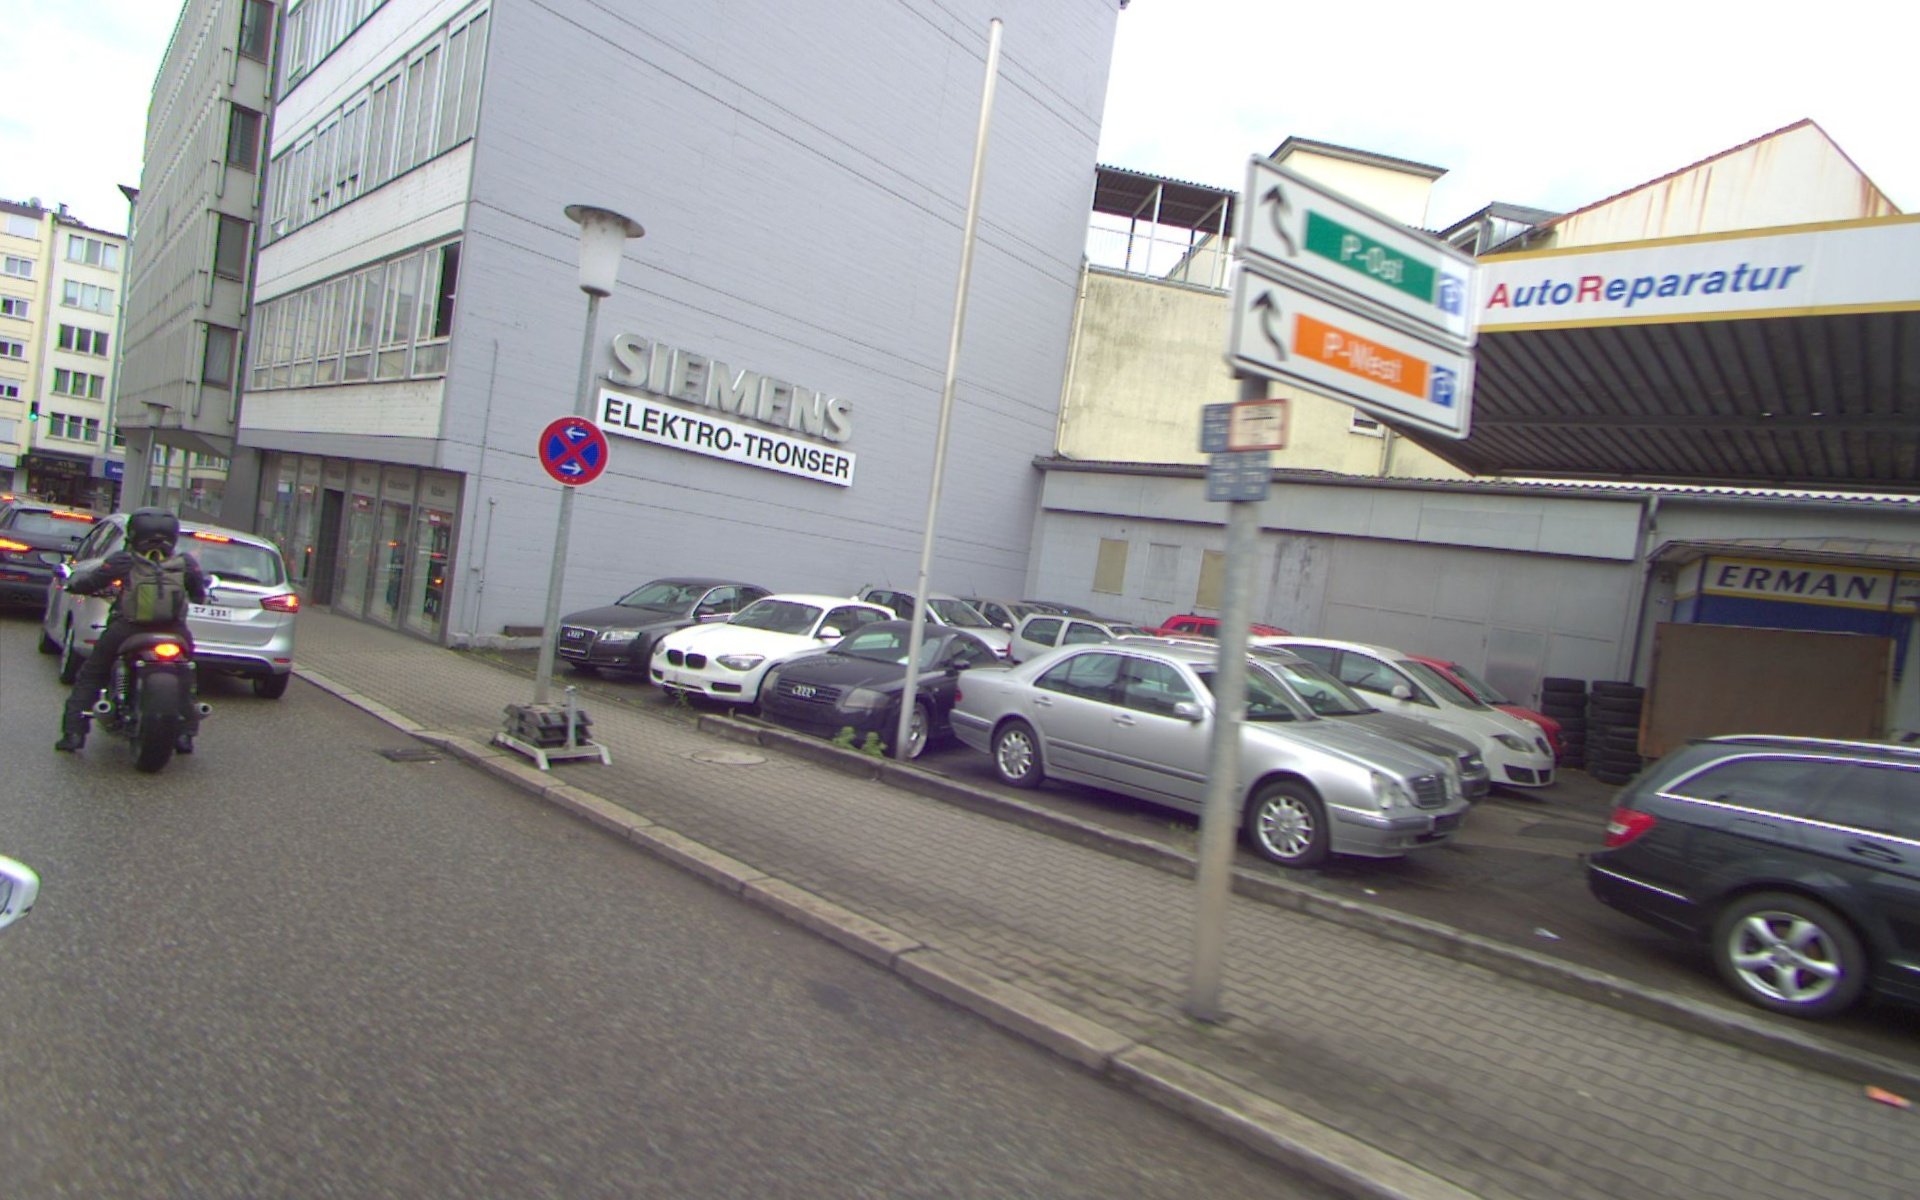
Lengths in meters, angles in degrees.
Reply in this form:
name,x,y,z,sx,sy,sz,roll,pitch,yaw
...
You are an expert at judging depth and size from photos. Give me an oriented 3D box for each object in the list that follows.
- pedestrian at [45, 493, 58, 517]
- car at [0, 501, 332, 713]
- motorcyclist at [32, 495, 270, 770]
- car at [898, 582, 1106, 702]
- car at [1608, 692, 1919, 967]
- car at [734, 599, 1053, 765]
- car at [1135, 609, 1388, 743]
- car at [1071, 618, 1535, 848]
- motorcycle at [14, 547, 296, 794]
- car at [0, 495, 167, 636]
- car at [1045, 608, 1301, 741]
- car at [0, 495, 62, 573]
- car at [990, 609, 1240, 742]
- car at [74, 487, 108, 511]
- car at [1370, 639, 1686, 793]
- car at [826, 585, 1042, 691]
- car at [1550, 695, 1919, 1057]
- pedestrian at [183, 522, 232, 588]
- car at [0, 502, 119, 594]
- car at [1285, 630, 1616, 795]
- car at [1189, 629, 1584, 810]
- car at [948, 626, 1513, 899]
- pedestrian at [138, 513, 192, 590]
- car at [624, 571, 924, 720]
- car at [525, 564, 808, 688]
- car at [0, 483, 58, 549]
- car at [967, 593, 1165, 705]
name,x,y,z,sx,sy,sz,roll,pitch,yaw
pedestrian,-69.204,-7.252,76.621,0.561,1.712,0.746,6,7,-39
car,-8.221,-0.005,10.227,4.193,1.557,1.827,6,-4,41
motorcyclist,-5.239,0.214,6.524,0.949,1.607,0.845,7,-2,39
car,0.777,0.810,20.449,1.783,1.922,3.899,7,0,-44
car,7.468,1.802,7.198,1.781,1.533,4.362,2,4,-44
car,-0.566,0.923,11.678,1.643,1.418,3.993,7,-1,30
car,5.561,1.373,18.916,1.783,1.934,4.053,7,0,-44
car,3.564,1.239,11.142,1.781,1.566,4.433,2,4,-44
motorcycle,-5.299,0.399,6.552,2.339,1.239,0.845,6,-3,40
car,-13.030,-0.558,14.491,4.146,1.577,1.821,6,-4,44
car,3.618,1.248,17.568,1.783,1.751,3.899,7,0,-44
car,-24.688,-1.830,25.863,4.446,1.713,1.896,6,-4,44
car,2.404,1.124,16.108,1.782,1.621,3.474,4,2,-44
car,-75.722,-8.780,87.729,1.787,1.691,3.960,6,0,-36
car,8.895,1.752,15.973,1.783,1.751,3.899,7,0,-44
car,-0.570,0.666,18.811,1.782,1.542,3.899,4,2,-44
car,5.745,1.570,5.055,1.783,1.530,4.381,7,-1,-44
pedestrian,-18.920,-1.120,25.294,0.878,1.571,0.763,6,2,41
car,-19.171,-1.134,21.155,3.947,1.493,1.687,6,-4,43
car,7.124,1.569,14.868,1.783,1.751,3.899,7,0,-44
car,5.486,1.458,13.376,1.783,1.620,4.363,7,-1,-44
car,2.124,1.206,9.027,1.782,1.433,4.559,6,0,-43
pedestrian,-18.914,-1.160,23.928,1.105,1.728,0.782,6,2,42
car,-2.313,0.647,13.586,1.733,1.548,3.995,7,-1,28
car,-4.252,0.343,15.214,1.767,1.470,3.990,7,3,28
car,-37.845,-3.402,40.292,2.235,2.253,5.366,9,-2,-41
car,2.249,1.029,22.030,1.783,1.934,3.899,7,0,-44
